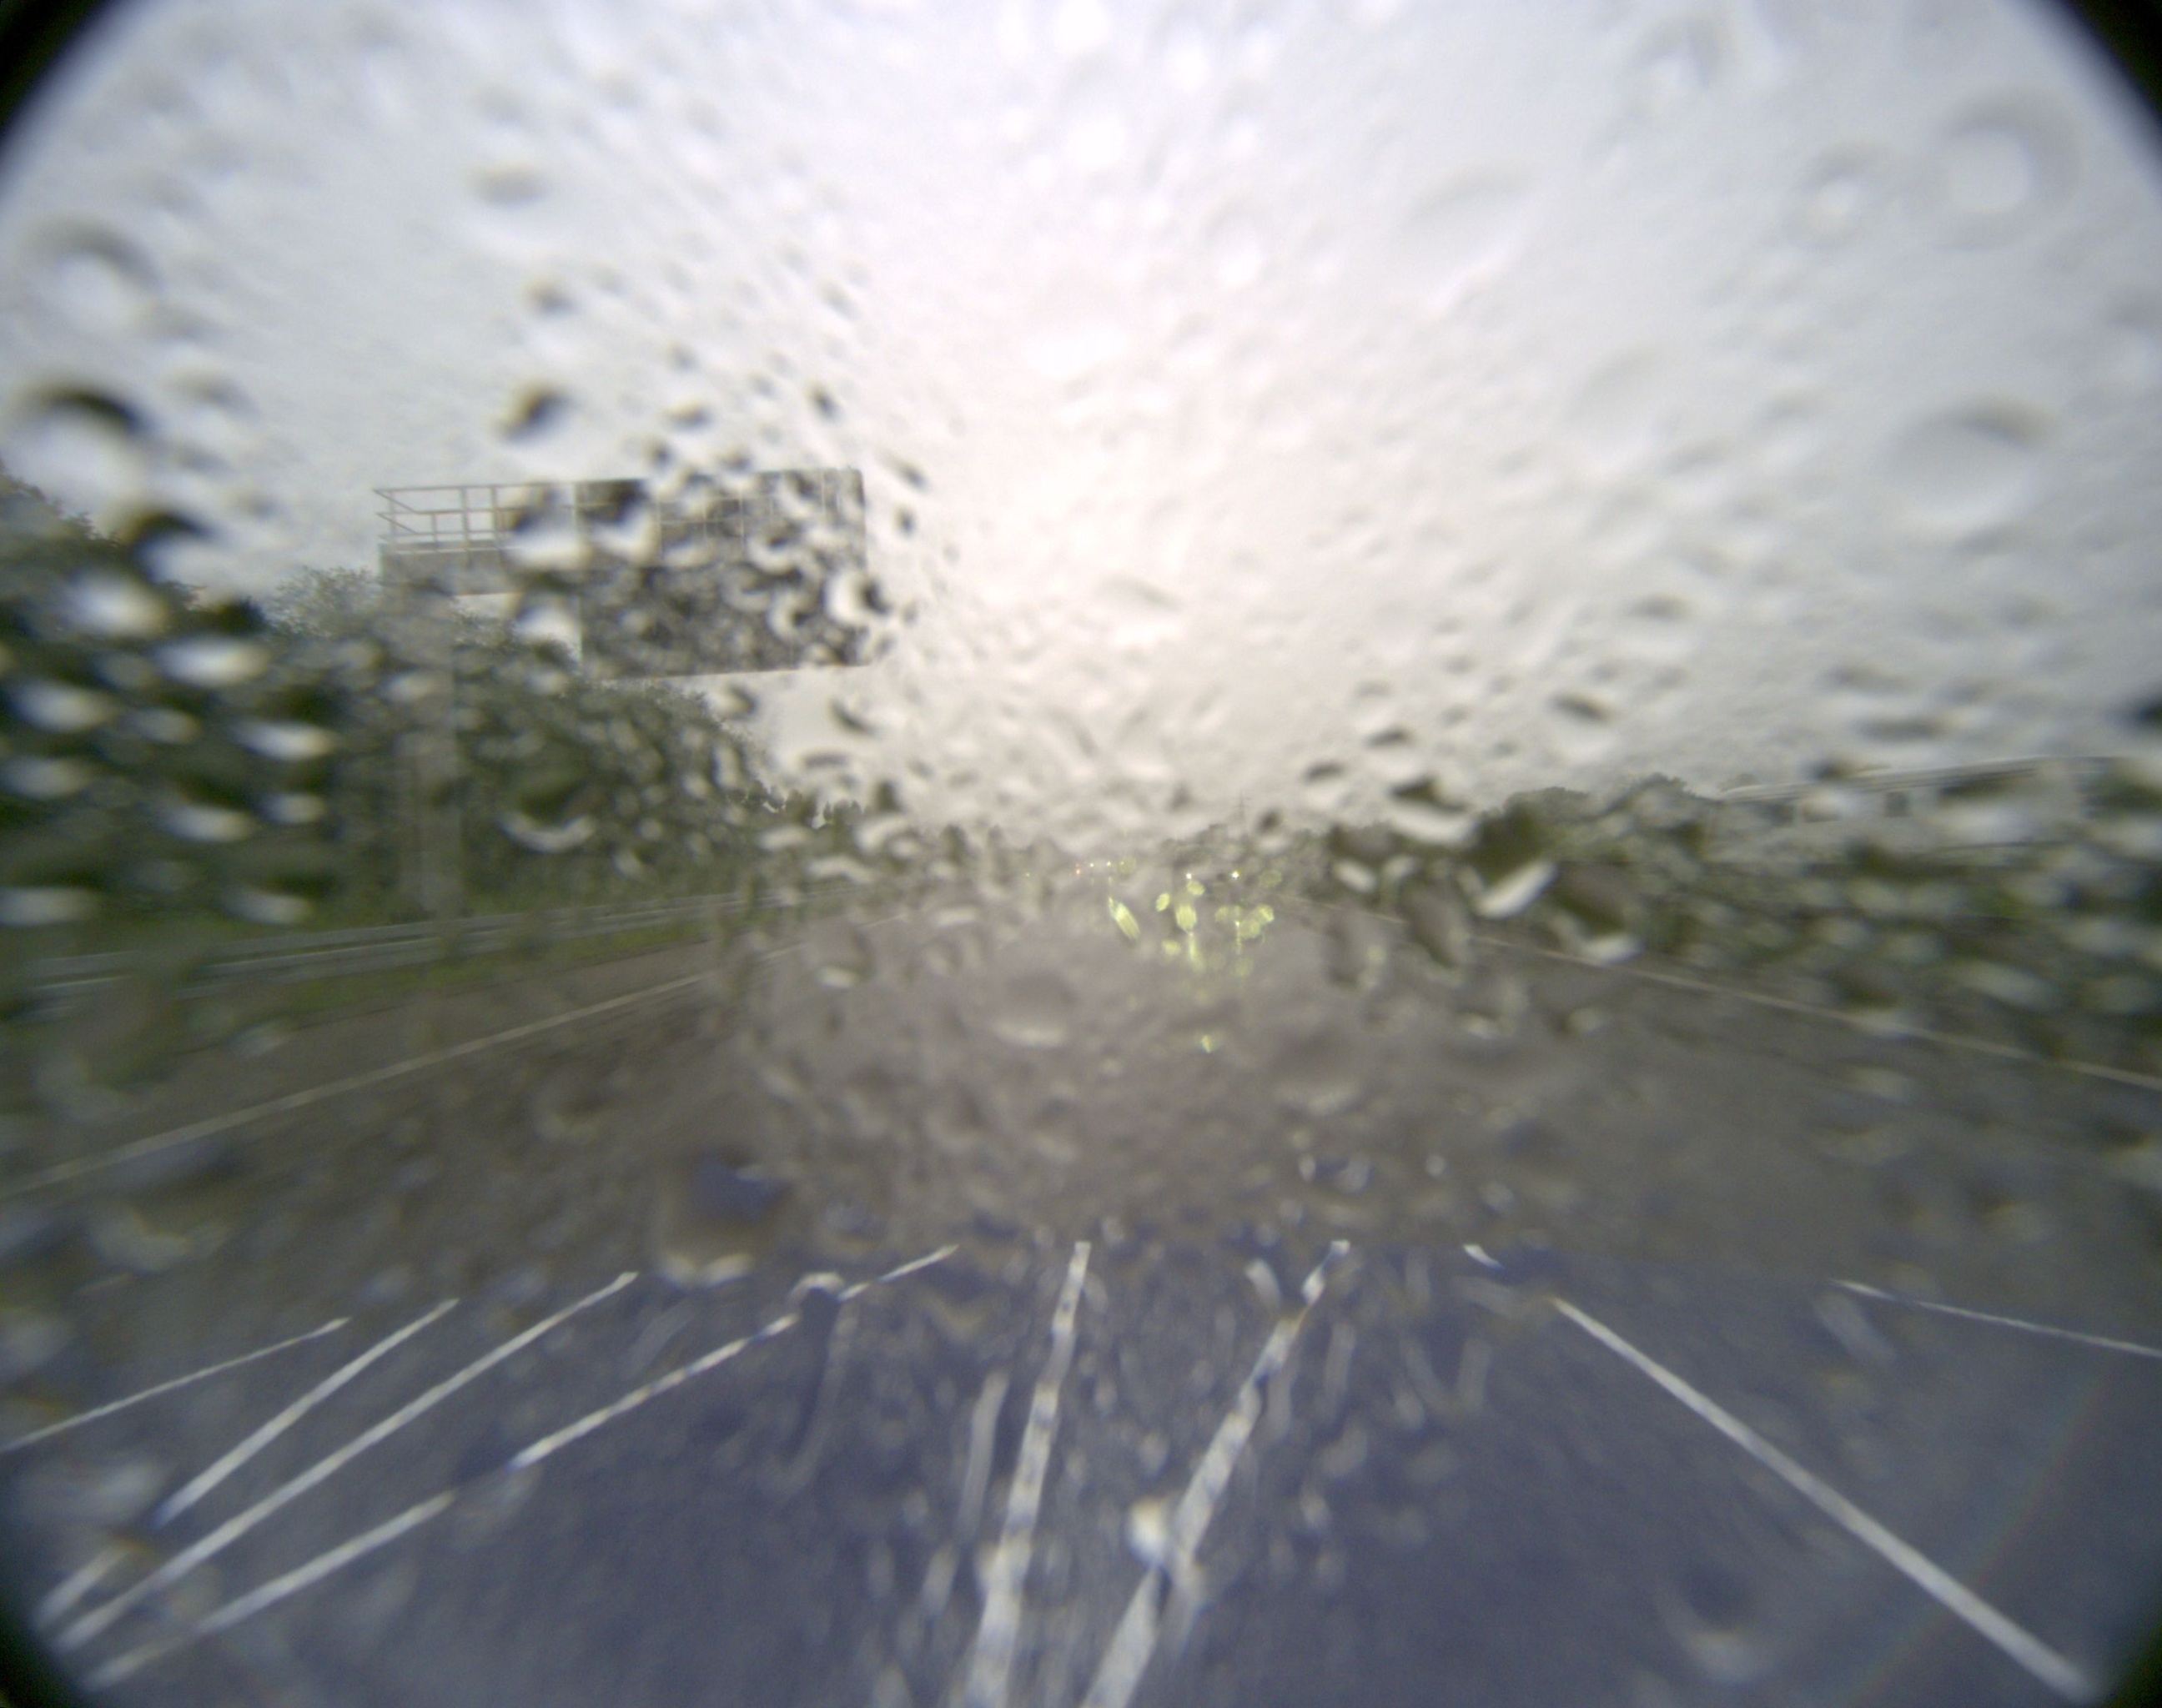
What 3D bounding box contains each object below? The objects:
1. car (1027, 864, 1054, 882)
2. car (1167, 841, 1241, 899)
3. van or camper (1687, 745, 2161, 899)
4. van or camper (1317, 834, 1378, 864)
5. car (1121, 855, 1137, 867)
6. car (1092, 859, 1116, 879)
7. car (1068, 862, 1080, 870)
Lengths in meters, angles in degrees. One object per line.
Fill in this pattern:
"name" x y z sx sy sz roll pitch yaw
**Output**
"car" -3.141 1.458 60.090 1.753 1.205 4.000 -5 0 1
"car" 4.142 0.495 26.243 2.046 1.763 4.501 -2 0 3
"van or camper" 21.414 -0.668 20.272 2.894 3.068 9.514 -2 0 0
"van or camper" 22.975 -0.413 65.826 2.611 2.262 7.337 -5 0 1
"car" 5.939 0.837 93.663 1.753 1.369 4.001 -3 -1 1
"car" 1.821 1.141 60.153 1.753 1.406 4.000 -5 0 1
"car" -1.130 1.881 120.145 1.753 1.205 4.000 -5 0 1
